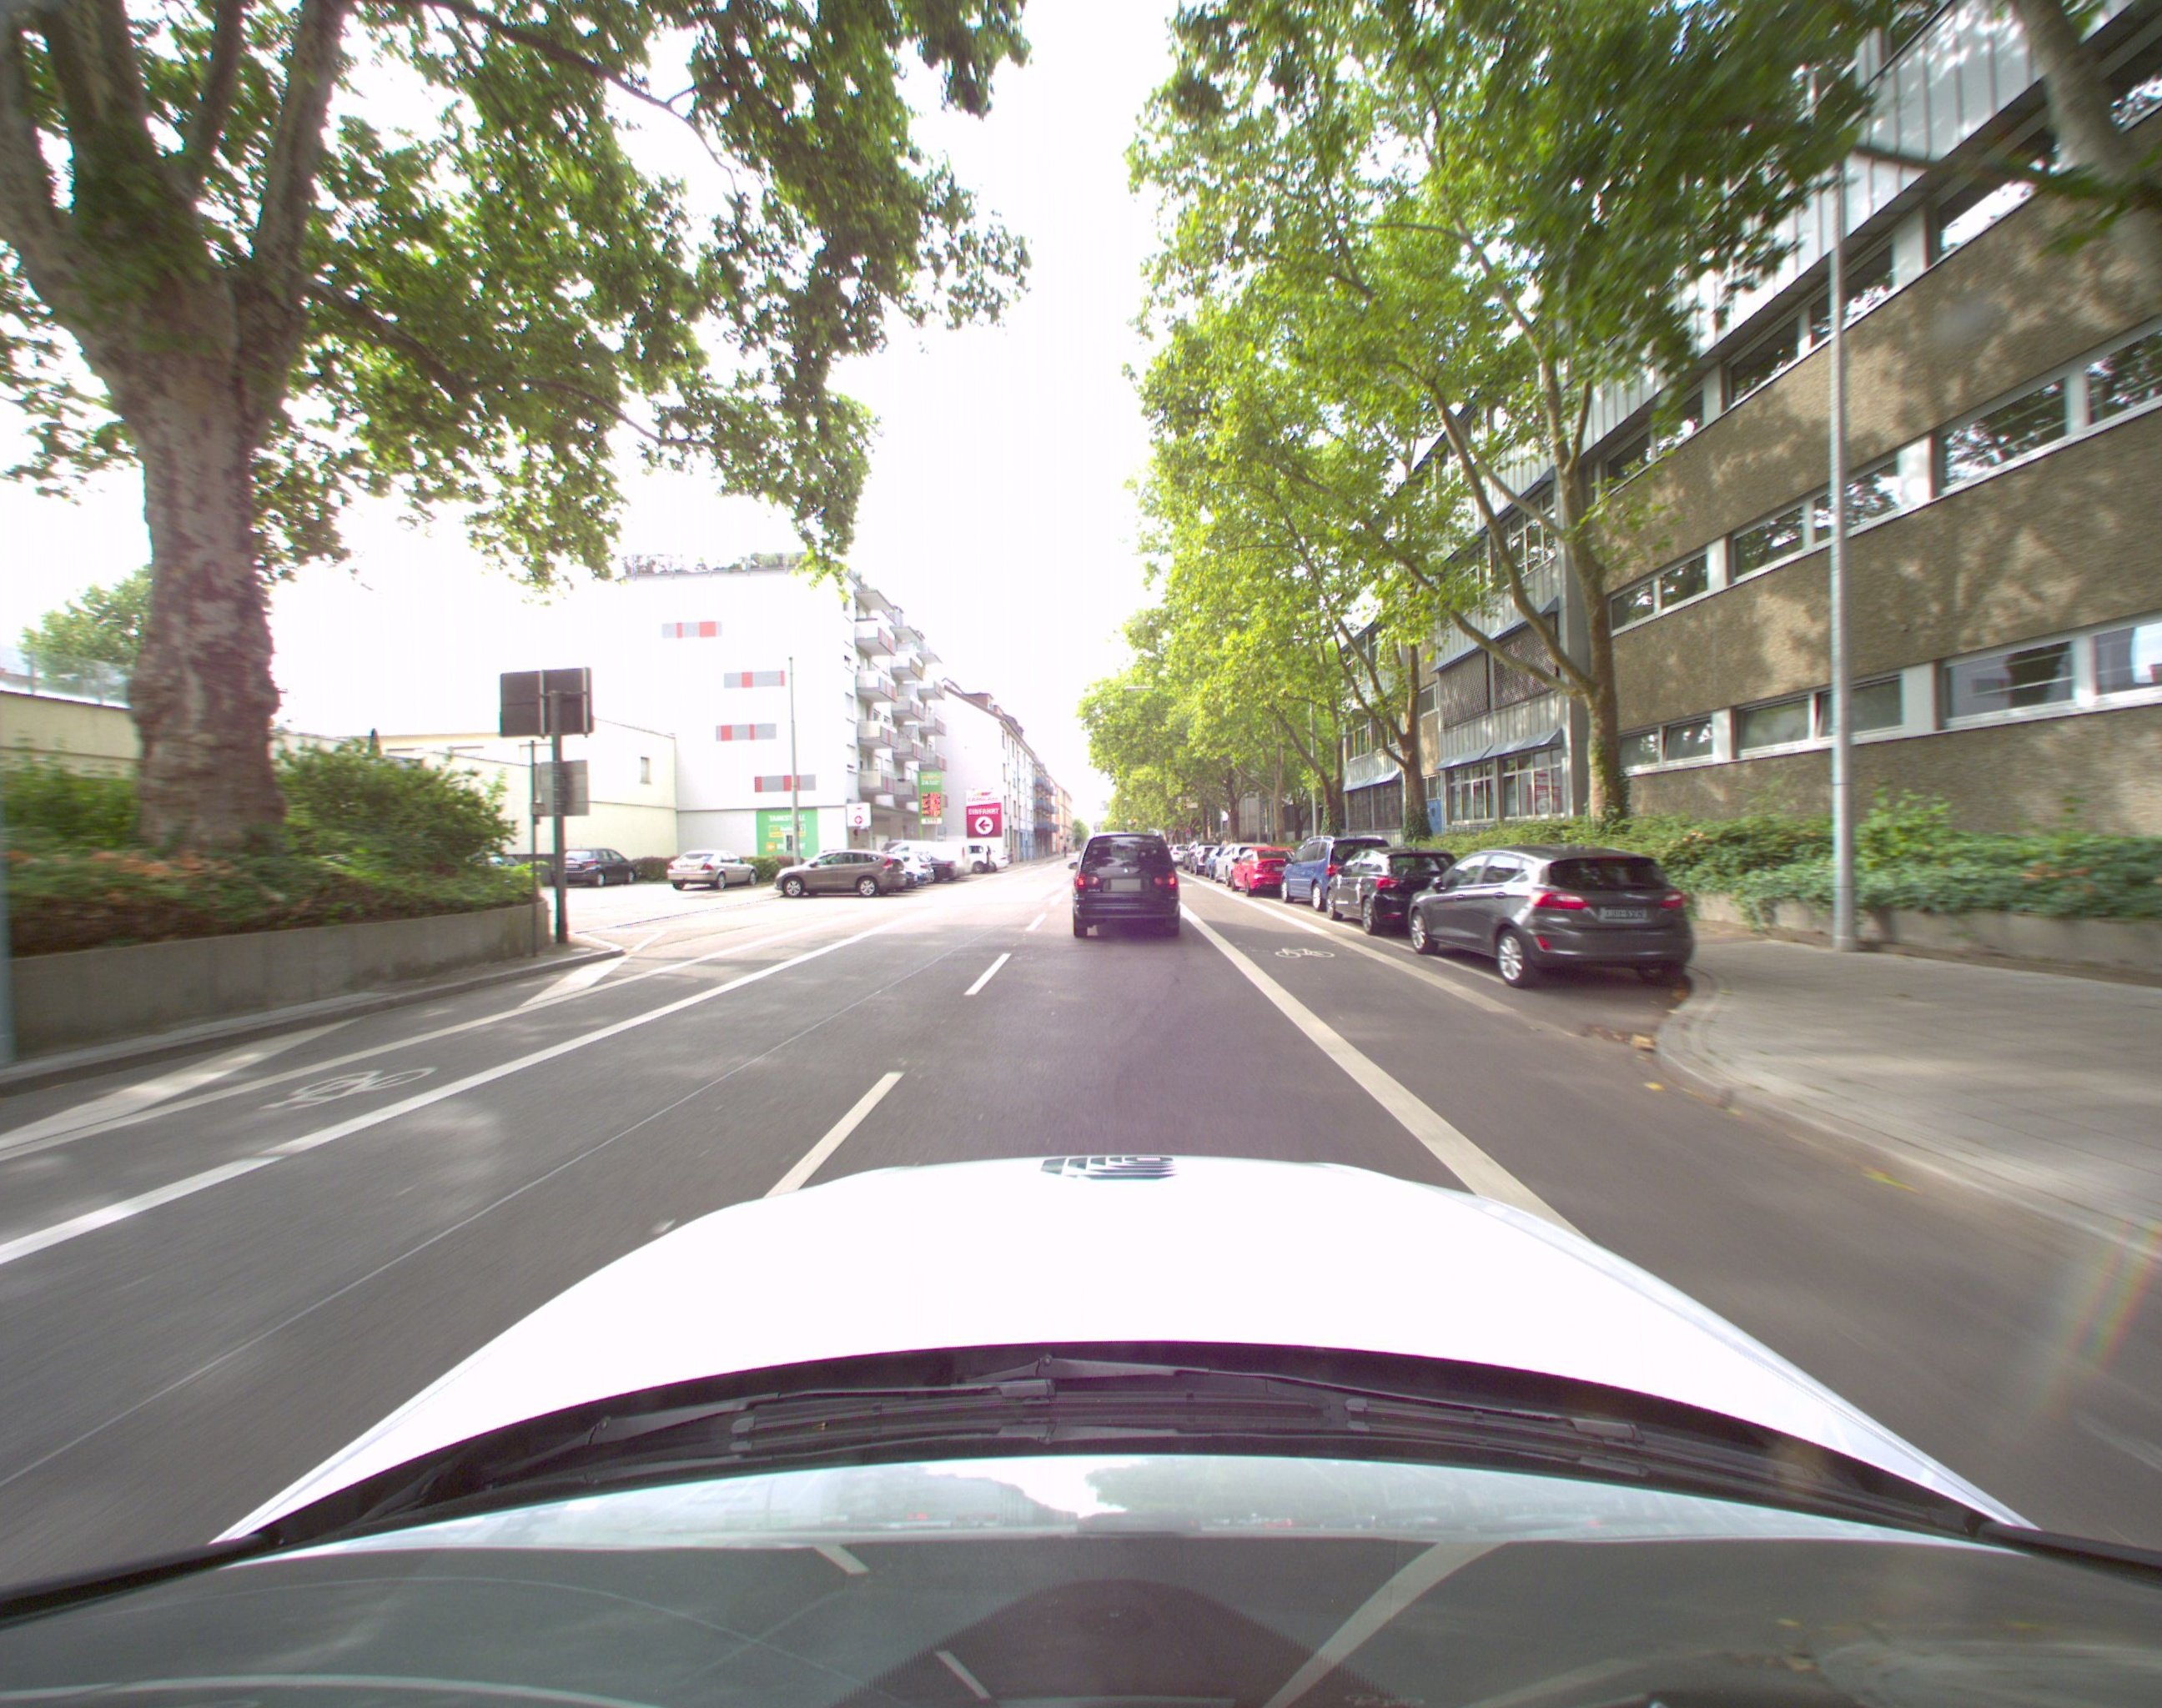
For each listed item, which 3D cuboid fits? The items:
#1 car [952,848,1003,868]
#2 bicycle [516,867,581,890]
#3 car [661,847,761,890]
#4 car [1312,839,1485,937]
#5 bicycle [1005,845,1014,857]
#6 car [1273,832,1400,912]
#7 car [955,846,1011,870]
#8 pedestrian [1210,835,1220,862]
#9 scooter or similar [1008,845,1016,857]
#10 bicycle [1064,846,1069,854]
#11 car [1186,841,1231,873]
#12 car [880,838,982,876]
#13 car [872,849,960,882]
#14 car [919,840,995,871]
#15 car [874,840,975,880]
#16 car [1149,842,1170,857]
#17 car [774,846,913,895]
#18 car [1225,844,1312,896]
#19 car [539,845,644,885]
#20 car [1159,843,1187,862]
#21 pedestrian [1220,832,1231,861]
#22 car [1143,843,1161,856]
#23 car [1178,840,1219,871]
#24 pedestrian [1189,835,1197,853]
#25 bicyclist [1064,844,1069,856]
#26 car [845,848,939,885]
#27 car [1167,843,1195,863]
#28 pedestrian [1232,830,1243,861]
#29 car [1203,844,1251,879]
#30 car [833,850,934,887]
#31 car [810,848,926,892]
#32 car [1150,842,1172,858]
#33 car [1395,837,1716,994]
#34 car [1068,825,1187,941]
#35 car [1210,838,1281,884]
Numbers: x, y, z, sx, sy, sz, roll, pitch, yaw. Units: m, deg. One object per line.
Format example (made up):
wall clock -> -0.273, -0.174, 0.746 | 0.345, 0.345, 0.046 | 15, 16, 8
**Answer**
car -> -7.170, 0.265, 56.533 | 3.332, 1.402, 1.504 | 0, 0, 0
bicycle -> -18.931, 0.879, 28.963 | 1.977, 0.742, 0.490 | -1, 1, -1
car -> -14.073, 0.502, 31.276 | 1.751, 1.518, 4.237 | 0, 1, 2
car -> 5.490, 0.495, 14.616 | 1.651, 1.422, 3.949 | -2, 2, 2
bicycle -> -6.190, -0.295, 70.445 | 0.629, 1.034, 2.014 | 0, 1, -1
car -> 5.956, 0.320, 19.505 | 1.652, 1.650, 4.420 | -2, 2, 0
car -> -6.199, 0.272, 51.707 | 3.332, 1.496, 1.596 | 0, 0, 0
pedestrian -> 8.529, -0.363, 51.800 | 0.585, 1.701, 0.508 | 0, 2, 3
scooter or similar -> -6.186, -0.277, 72.934 | 0.630, 1.034, 2.013 | -2, 1, -4
bicycle -> -2.020, -0.540, 110.148 | 0.629, 1.034, 2.014 | -1, -2, 0
car -> 6.240, 0.116, 40.323 | 1.624, 1.470, 4.319 | -1, 0, 1
car -> -7.801, 0.127, 42.709 | 4.898, 1.903, 2.001 | 1, 1, 1
car -> -7.544, 0.519, 37.484 | 3.668, 1.444, 1.754 | 0, 1, 1
car -> -7.482, 0.080, 49.361 | 4.292, 1.869, 1.824 | 0, 0, 0
car -> -7.636, 0.266, 40.093 | 4.508, 1.878, 2.048 | 0, 1, 2
car -> 7.695, -0.458, 80.397 | 1.637, 1.394, 3.511 | -2, 1, -2
car -> -8.292, 0.554, 28.731 | 4.239, 1.605, 1.970 | 0, 2, 2
car -> 5.547, 0.411, 24.562 | 1.669, 1.394, 4.462 | -1, 1, 1
car -> -18.988, 0.387, 31.827 | 1.808, 1.332, 3.996 | 0, 2, -3
car -> 7.095, -0.160, 63.028 | 1.637, 1.413, 3.414 | 0, 1, -2
pedestrian -> 9.207, -0.464, 51.819 | 0.585, 1.838, 0.693 | 0, 2, 3
car -> 8.274, -0.539, 94.606 | 1.637, 1.487, 3.511 | -2, 1, -2
car -> 6.450, 0.050, 45.242 | 1.662, 1.640, 4.504 | 1, 1, 0
pedestrian -> 11.558, -1.057, 84.181 | 0.764, 1.831, 0.516 | -1, 0, 2
bicyclist -> -1.963, -0.577, 110.299 | 0.651, 1.611, 0.656 | -1, -2, -1
car -> -8.164, 0.526, 35.408 | 3.669, 1.485, 1.754 | 0, 1, 1
car -> 7.152, -0.113, 58.594 | 1.669, 1.394, 4.464 | 0, 1, 2
pedestrian -> 9.910, -0.556, 51.557 | 0.640, 1.975, 0.693 | 0, 2, 3
car -> 6.278, 0.270, 35.368 | 1.615, 1.386, 4.004 | 1, 1, 3
car -> -8.041, 0.569, 33.349 | 3.669, 1.426, 1.754 | 0, 1, 1
car -> -8.077, 0.573, 31.064 | 3.923, 1.569, 1.755 | 0, 1, 4
car -> 7.328, -0.414, 74.581 | 1.637, 1.413, 3.414 | 0, 1, -2
car -> 5.286, 0.552, 9.720 | 1.651, 1.422, 3.868 | -2, 2, 2
car -> 0.768, 0.430, 14.439 | 1.806, 1.766, 3.739 | -1, 0, 1
car -> 5.911, 0.220, 29.791 | 1.721, 1.516, 4.873 | -1, 1, 1
